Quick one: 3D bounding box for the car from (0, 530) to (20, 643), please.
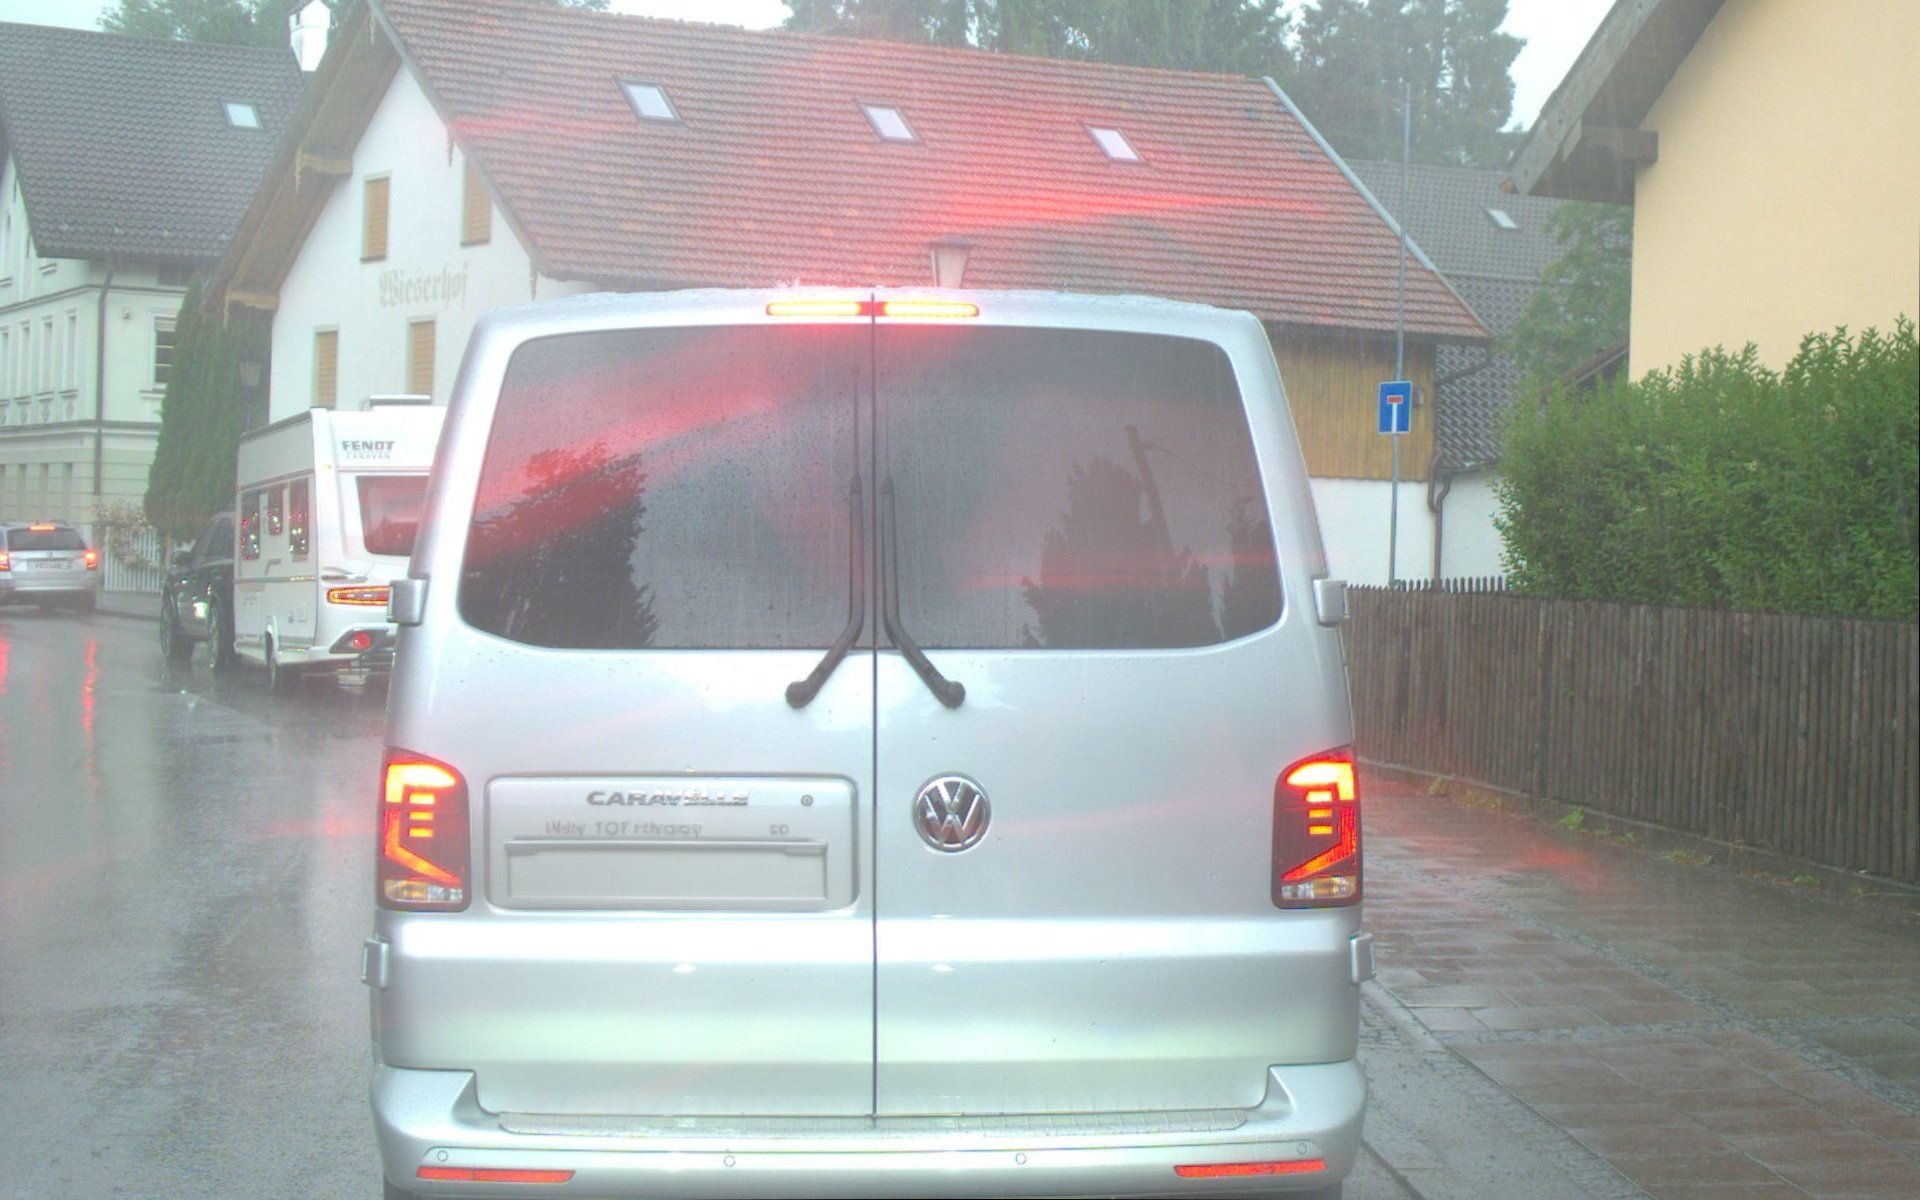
[{"bbox_3d":[-18.110,-0.339,60.224,2.168,1.892,5.015,2,1,-27],"label":"car"}]

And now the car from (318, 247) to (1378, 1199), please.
[{"bbox_3d":[-0.202,0.347,8.320,1.776,1.956,5.074,0,1,0],"label":"car"}]

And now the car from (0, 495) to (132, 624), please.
[{"bbox_3d":[-14.856,-0.656,54.584,2.168,1.893,5.015,2,0,-27],"label":"car"}]

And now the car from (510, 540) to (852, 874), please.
[{"bbox_3d":[-1.705,0.497,19.740,1.708,1.578,4.687,-1,2,-7],"label":"car"}]

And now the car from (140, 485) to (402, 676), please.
[{"bbox_3d":[-7.469,-0.238,36.871,2.053,1.892,5.177,0,1,-19],"label":"car"}]

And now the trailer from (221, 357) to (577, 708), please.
[{"bbox_3d":[-5.281,-0.611,31.572,2.270,2.894,6.134,0,1,-18],"label":"trailer"}]
